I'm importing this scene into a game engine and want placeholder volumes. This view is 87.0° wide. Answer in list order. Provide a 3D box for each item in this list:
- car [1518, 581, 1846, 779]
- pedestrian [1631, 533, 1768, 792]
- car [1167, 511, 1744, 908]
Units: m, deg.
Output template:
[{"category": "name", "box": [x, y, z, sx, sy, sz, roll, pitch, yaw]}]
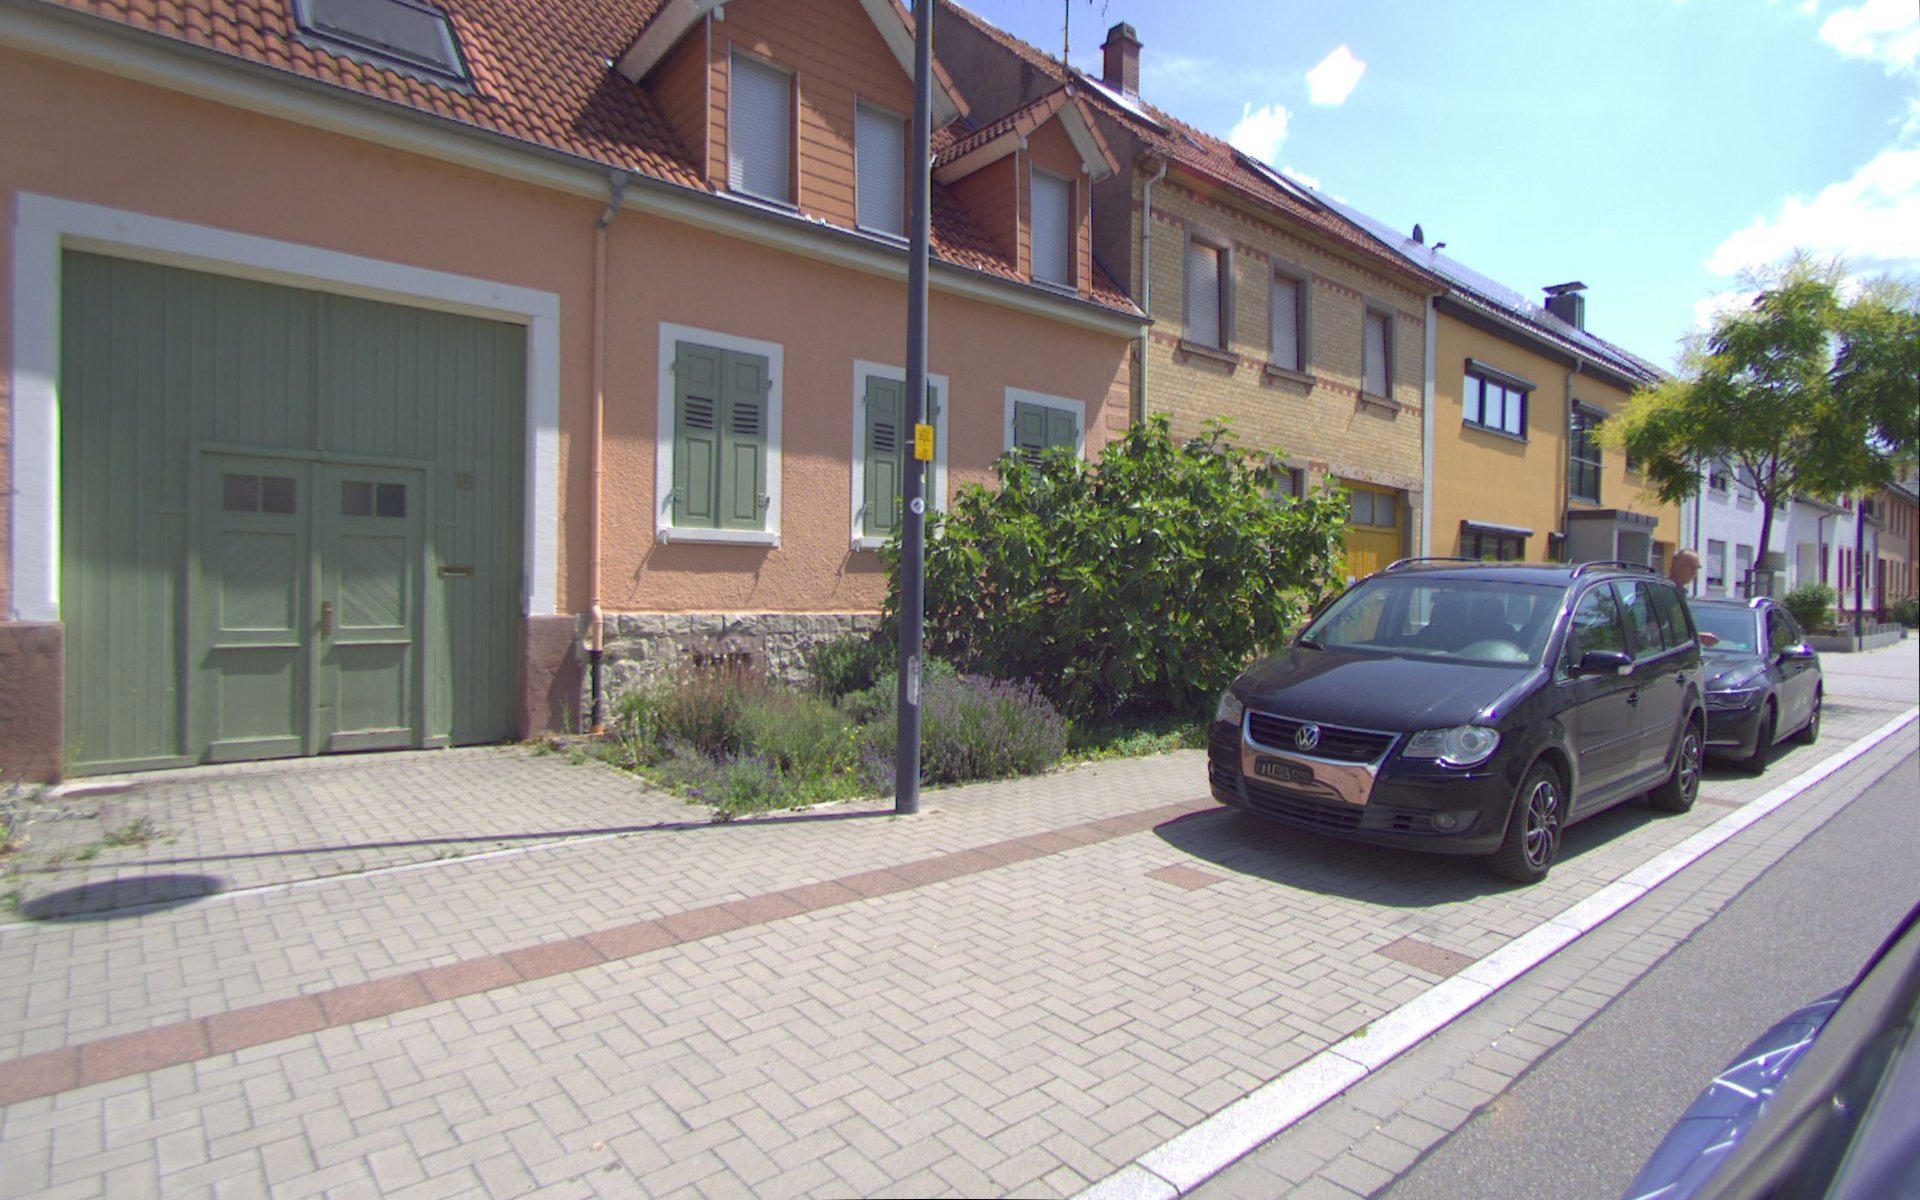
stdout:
[{"category": "car", "box": [7.166, 0.594, 9.867, 4.223, 1.507, 1.769, 0, 1, -43]}, {"category": "pedestrian", "box": [5.692, 0.443, 7.795, 0.568, 1.876, 0.718, 0, 1, -40]}, {"category": "car", "box": [3.363, 0.450, 6.457, 4.249, 1.726, 1.770, 0, 1, -41]}]
